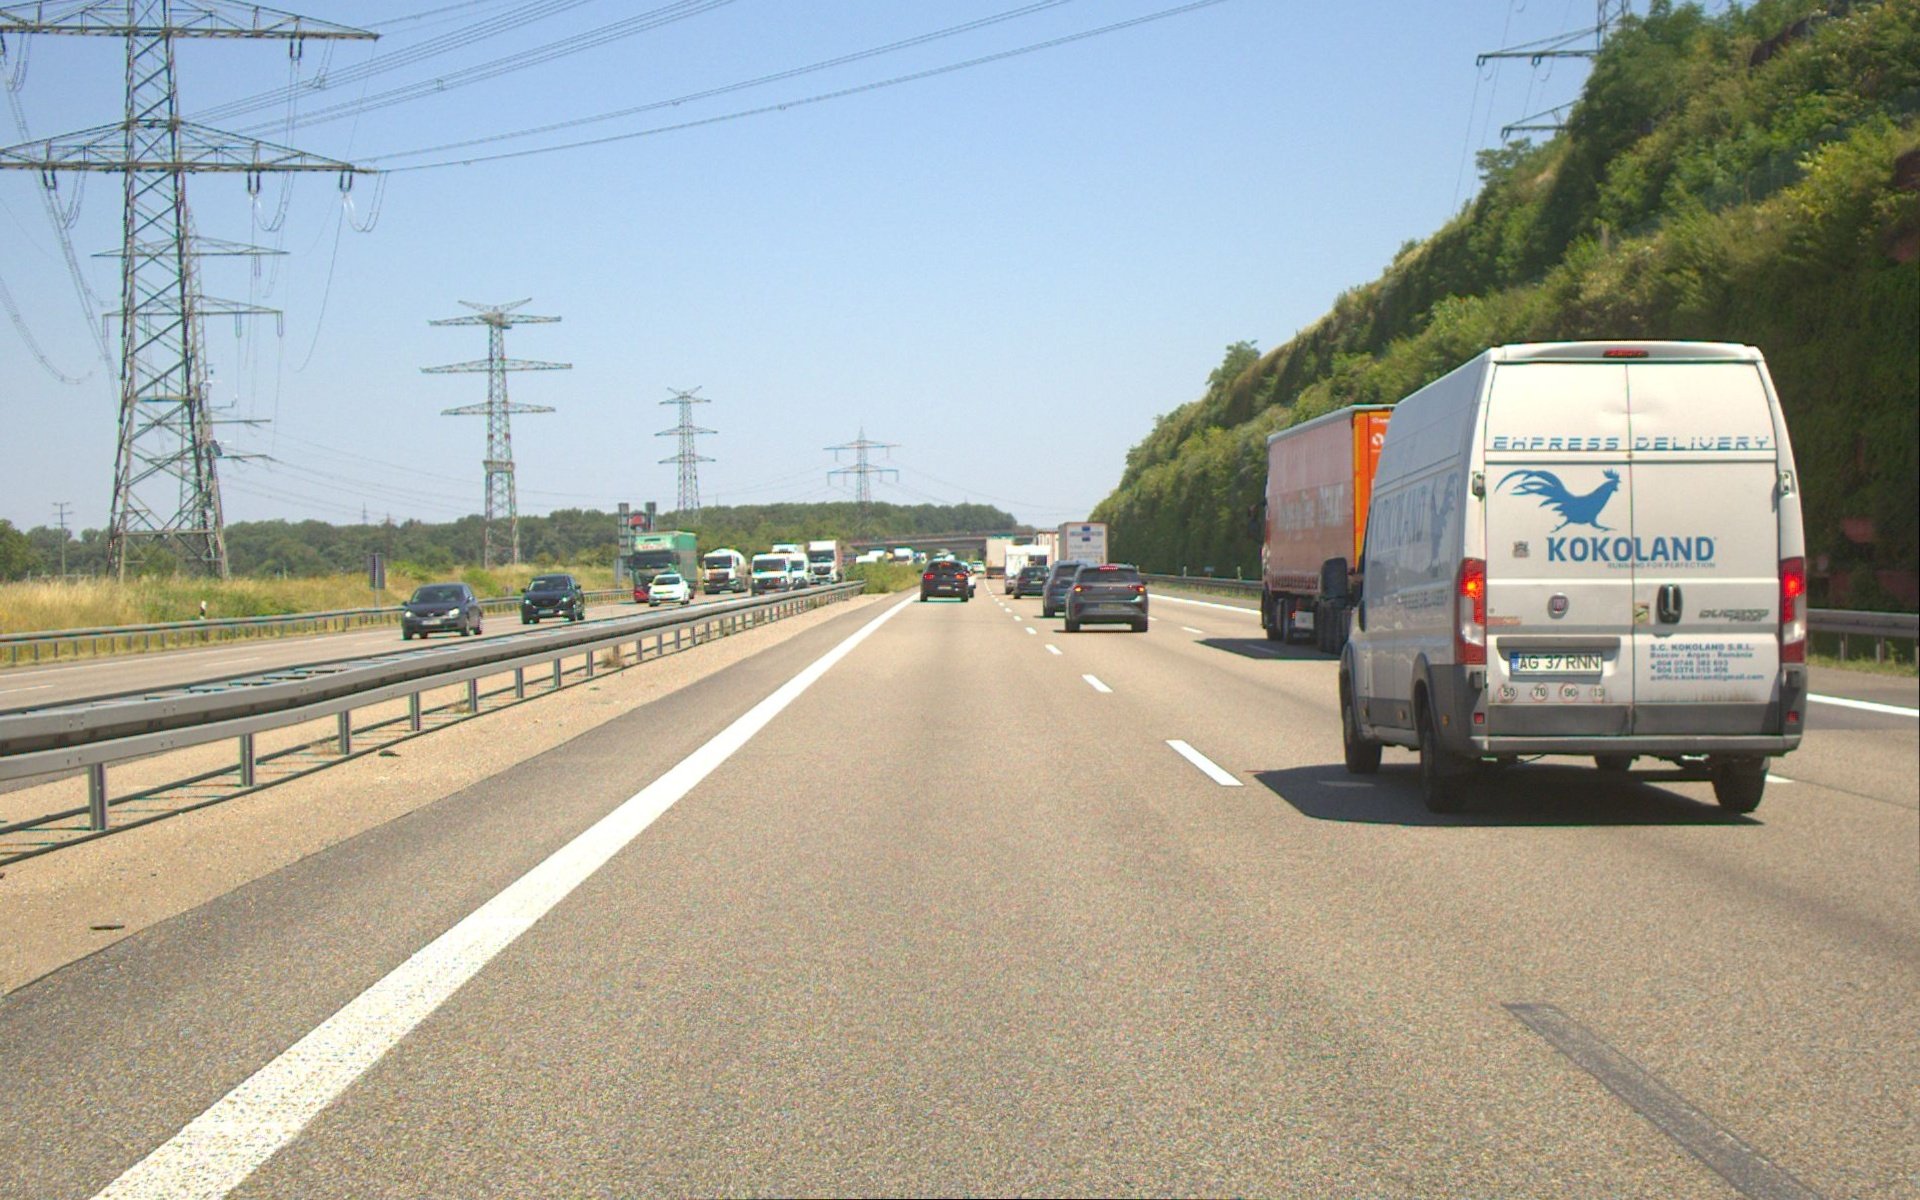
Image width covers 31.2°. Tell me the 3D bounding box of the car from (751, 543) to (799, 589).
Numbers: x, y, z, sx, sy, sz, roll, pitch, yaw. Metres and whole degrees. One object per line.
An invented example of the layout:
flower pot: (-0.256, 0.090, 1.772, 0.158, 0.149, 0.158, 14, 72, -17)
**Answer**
car: (-9.650, -1.806, 179.783, 2.108, 2.290, 6.707, -2, 1, -1)

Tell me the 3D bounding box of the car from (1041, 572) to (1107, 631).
car: (3.317, 0.033, 100.509, 1.794, 1.647, 4.138, -1, 1, 0)

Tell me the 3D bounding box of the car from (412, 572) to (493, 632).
car: (-13.875, 0.034, 94.164, 1.617, 1.455, 4.284, -4, 1, -2)

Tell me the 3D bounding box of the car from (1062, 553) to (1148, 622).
car: (3.282, -0.298, 78.464, 1.749, 1.520, 3.995, -1, 1, 0)

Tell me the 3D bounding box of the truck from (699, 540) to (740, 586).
truck: (-17.882, -2.759, 255.579, 2.483, 3.367, 6.211, -2, 1, 0)

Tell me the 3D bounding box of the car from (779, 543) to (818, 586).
car: (-9.677, -2.150, 206.478, 2.047, 2.430, 6.070, -2, 1, -1)

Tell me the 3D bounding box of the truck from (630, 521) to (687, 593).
truck: (-17.678, -2.523, 201.936, 2.699, 4.120, 6.581, -2, 1, 0)

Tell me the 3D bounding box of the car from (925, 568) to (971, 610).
car: (-0.483, -0.487, 142.916, 1.830, 1.665, 4.000, -1, 1, 0)

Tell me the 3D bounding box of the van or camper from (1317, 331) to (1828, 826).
van or camper: (3.791, -0.166, 22.681, 2.096, 2.759, 6.757, 0, 1, 0)

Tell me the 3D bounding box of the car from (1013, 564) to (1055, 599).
car: (3.317, -0.844, 153.948, 1.830, 1.520, 4.000, -1, 1, 1)

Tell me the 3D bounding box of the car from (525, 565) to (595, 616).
car: (-13.976, -0.352, 120.264, 1.840, 1.624, 4.414, -4, 1, 0)

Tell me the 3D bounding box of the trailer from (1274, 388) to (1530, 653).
trailer: (7.295, -1.292, 58.694, 2.645, 3.991, 13.606, 0, 1, 0)

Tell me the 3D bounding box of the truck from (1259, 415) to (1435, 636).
truck: (7.291, -1.392, 65.505, 2.618, 3.979, 6.526, -1, 1, 0)

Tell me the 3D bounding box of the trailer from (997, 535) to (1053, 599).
trailer: (3.339, -1.723, 178.508, 2.610, 3.202, 9.953, -1, 1, 0)

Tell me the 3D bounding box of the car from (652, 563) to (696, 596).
car: (-14.121, -1.021, 169.967, 1.707, 1.518, 4.514, -4, 1, 0)

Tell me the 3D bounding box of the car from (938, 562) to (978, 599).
car: (-0.087, -0.919, 160.728, 1.830, 1.665, 4.000, -1, 1, 0)

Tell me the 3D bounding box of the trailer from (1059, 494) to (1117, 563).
trailer: (7.964, -4.377, 214.904, 3.183, 4.107, 13.431, -1, 1, 1)
